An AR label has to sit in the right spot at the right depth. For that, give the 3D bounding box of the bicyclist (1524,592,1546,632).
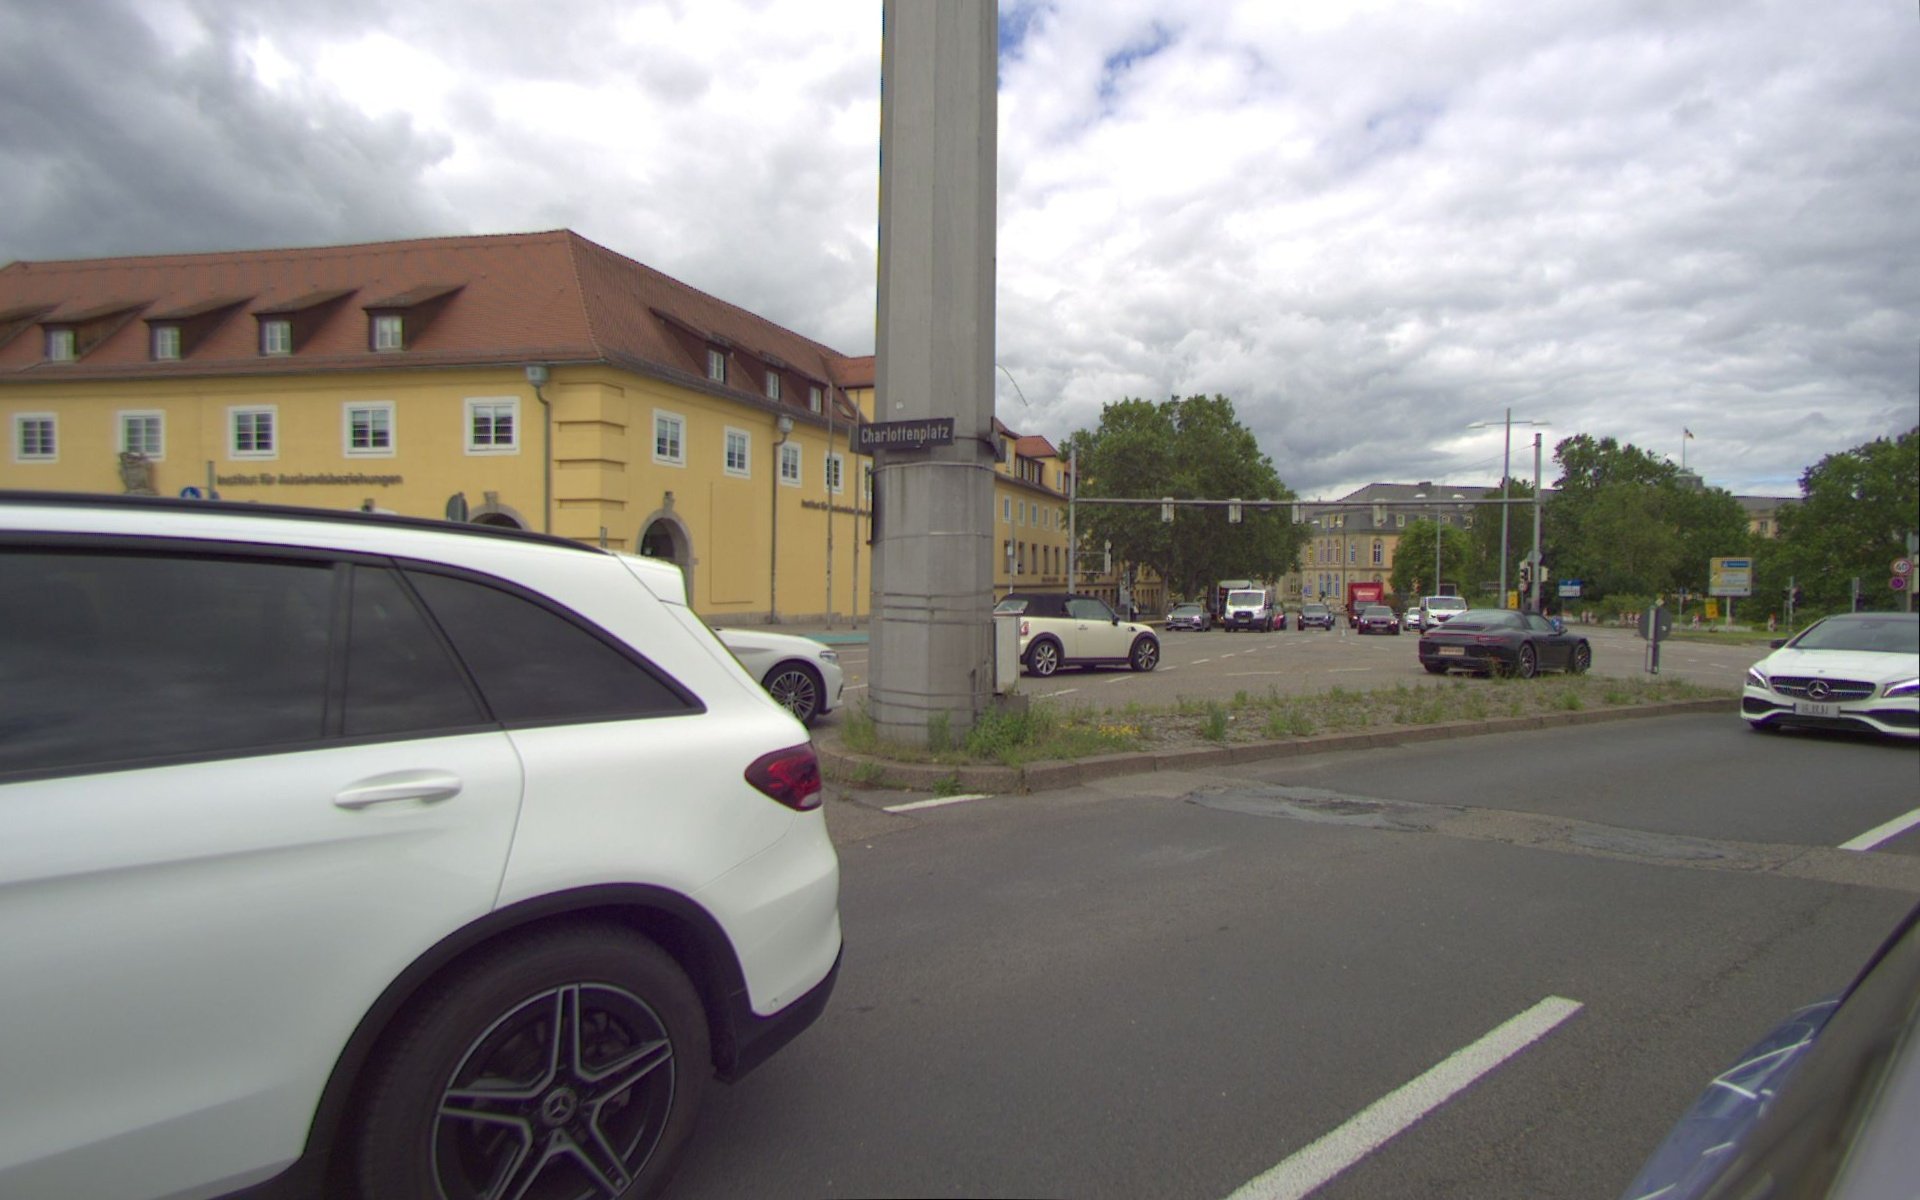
[{"bbox_3d":[24.550,0.506,43.202,0.707,1.660,0.506,1,0,-26],"label":"bicyclist"}]

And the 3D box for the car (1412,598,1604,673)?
[{"bbox_3d":[10.523,0.647,19.345,3.981,1.281,1.676,1,-1,-36],"label":"car"}]

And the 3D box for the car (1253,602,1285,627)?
[{"bbox_3d":[17.725,0.806,58.024,1.596,1.372,3.462,1,0,20],"label":"car"}]

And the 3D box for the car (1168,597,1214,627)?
[{"bbox_3d":[11.959,0.589,52.144,1.807,1.426,3.973,1,1,20],"label":"car"}]

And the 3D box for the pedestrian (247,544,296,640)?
[{"bbox_3d":[-13.989,-0.152,20.586,0.625,1.919,0.559,1,0,-11],"label":"pedestrian"}]

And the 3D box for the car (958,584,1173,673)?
[{"bbox_3d":[1.921,0.491,18.109,3.578,1.436,1.729,1,-1,-35],"label":"car"}]

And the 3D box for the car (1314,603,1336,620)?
[{"bbox_3d":[34.451,1.070,95.535,1.818,1.473,3.465,1,1,21],"label":"car"}]

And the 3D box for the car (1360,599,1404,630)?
[{"bbox_3d":[21.021,0.701,50.503,1.718,1.418,3.688,1,0,19],"label":"car"}]

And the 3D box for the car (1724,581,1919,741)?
[{"bbox_3d":[11.072,0.619,11.905,4.561,1.589,1.873,1,1,-33],"label":"car"}]

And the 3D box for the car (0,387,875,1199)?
[{"bbox_3d":[-2.437,0.481,1.915,4.256,1.667,1.806,1,0,-40],"label":"car"}]

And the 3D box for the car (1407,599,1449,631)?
[{"bbox_3d":[28.383,0.885,61.453,1.976,1.776,3.933,1,0,21],"label":"car"}]

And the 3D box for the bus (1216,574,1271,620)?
[{"bbox_3d":[22.009,-0.213,78.102,3.391,3.244,12.983,1,0,18],"label":"bus"}]

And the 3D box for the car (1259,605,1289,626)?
[{"bbox_3d":[20.317,0.978,65.337,1.604,1.251,3.215,1,0,22],"label":"car"}]

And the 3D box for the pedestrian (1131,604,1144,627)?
[{"bbox_3d":[10.957,0.969,62.369,0.673,1.397,0.575,1,0,19],"label":"pedestrian"}]

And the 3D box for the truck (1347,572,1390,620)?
[{"bbox_3d":[31.895,-0.294,79.267,2.758,3.534,8.293,1,0,20],"label":"truck"}]

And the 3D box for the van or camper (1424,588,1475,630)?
[{"bbox_3d":[24.465,0.410,50.751,1.843,1.940,4.681,1,1,21],"label":"van or camper"}]

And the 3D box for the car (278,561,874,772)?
[{"bbox_3d":[-3.446,0.455,9.565,4.945,1.523,2.000,-1,0,-36],"label":"car"}]

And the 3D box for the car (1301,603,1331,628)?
[{"bbox_3d":[21.324,0.889,60.621,1.586,1.395,3.974,1,0,20],"label":"car"}]

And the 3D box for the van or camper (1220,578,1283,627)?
[{"bbox_3d":[15.075,0.136,52.085,2.349,2.291,6.237,2,0,23],"label":"van or camper"}]

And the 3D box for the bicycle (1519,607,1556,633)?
[{"bbox_3d":[24.688,0.846,43.244,1.693,1.086,0.506,1,0,-26],"label":"bicycle"}]
